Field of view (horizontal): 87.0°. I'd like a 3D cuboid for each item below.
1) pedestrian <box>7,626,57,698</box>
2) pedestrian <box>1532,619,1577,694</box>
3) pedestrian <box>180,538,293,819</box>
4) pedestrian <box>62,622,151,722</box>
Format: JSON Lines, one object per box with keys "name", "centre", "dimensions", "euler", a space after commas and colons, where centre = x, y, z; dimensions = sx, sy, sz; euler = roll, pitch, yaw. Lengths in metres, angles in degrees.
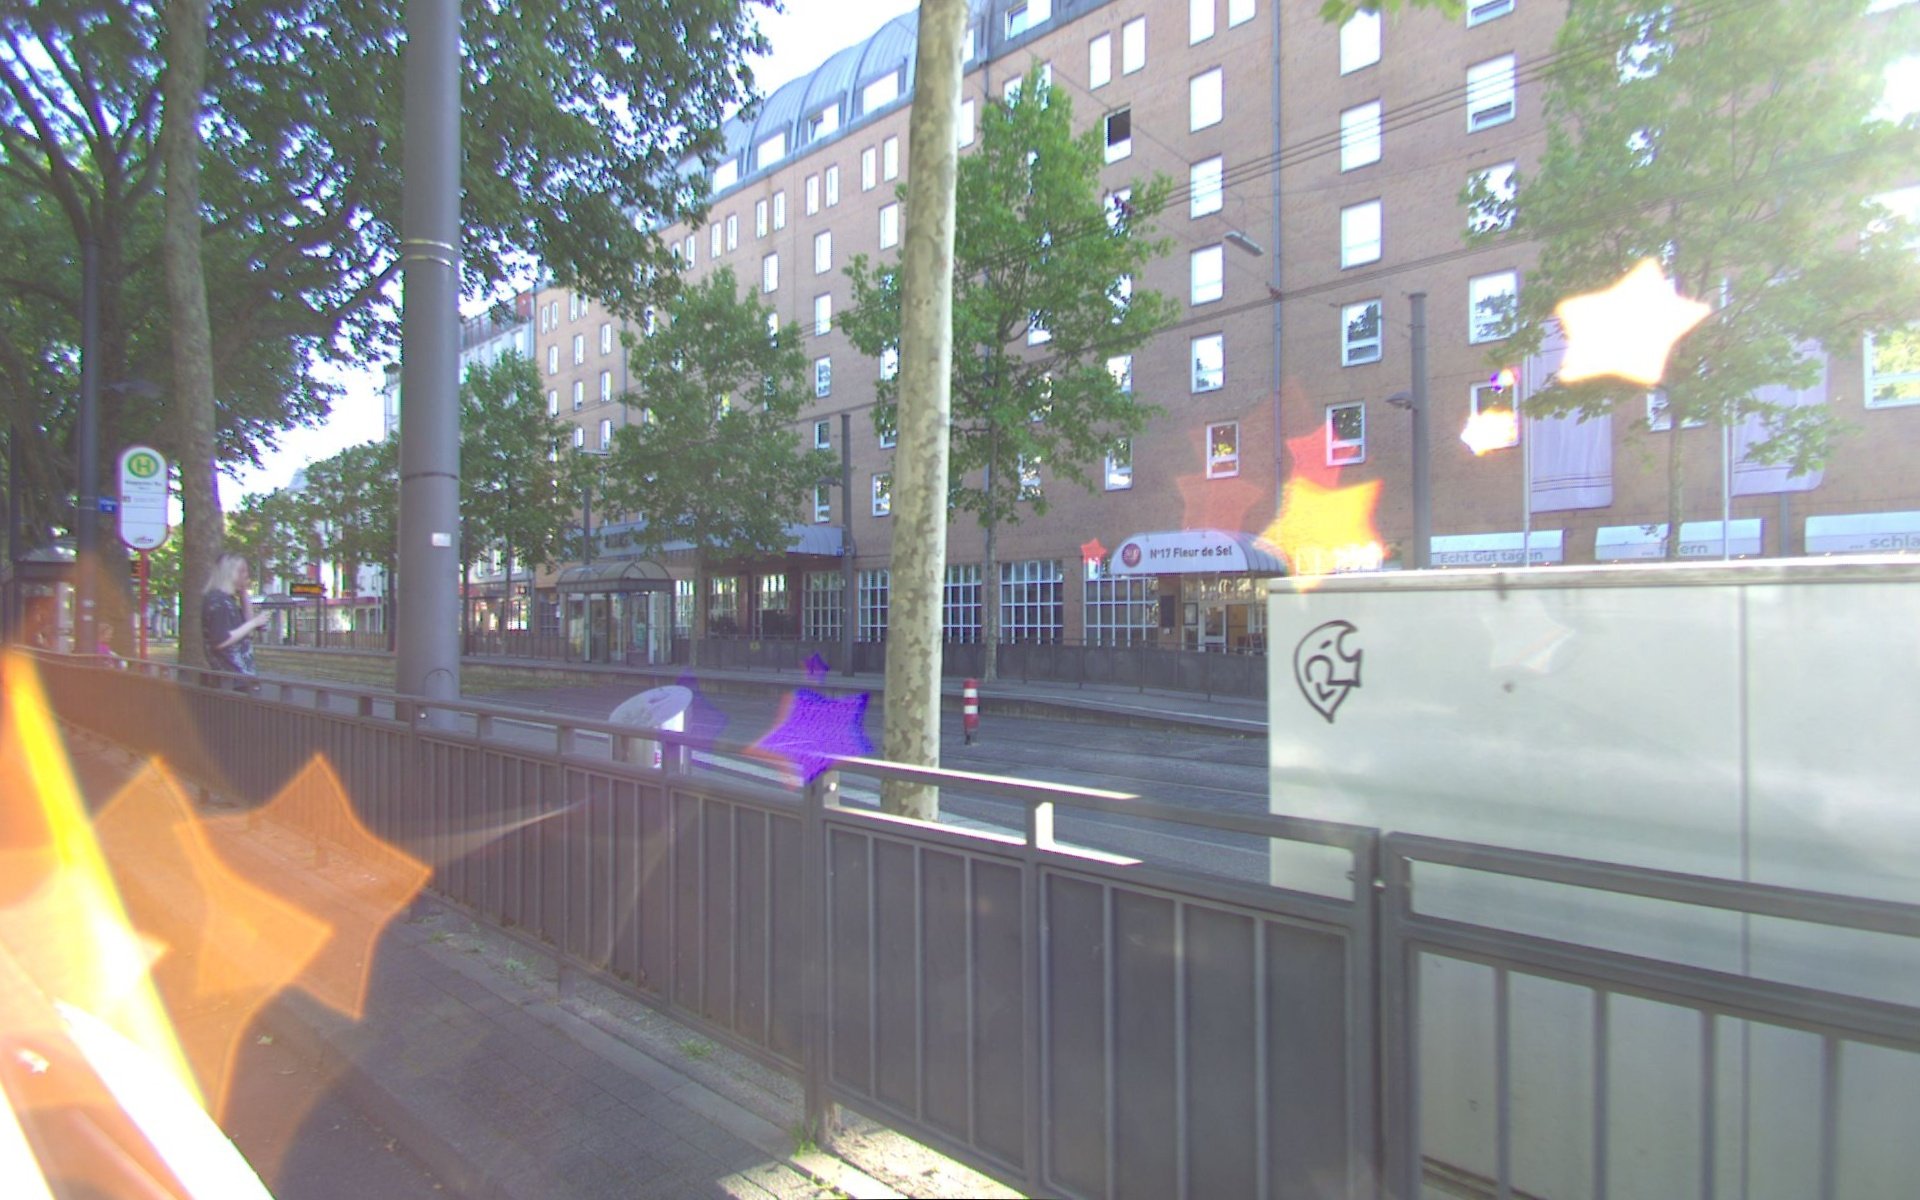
{"name": "pedestrian", "centre": [-18.883, 1.250, 20.602], "dimensions": [0.725, 1.398, 0.641], "euler": [-1, 0, -44]}
{"name": "pedestrian", "centre": [13.103, 1.234, 22.301], "dimensions": [0.725, 1.596, 0.583], "euler": [-2, 0, 40]}
{"name": "pedestrian", "centre": [-5.259, 0.536, 7.349], "dimensions": [0.759, 1.914, 0.504], "euler": [-1, 0, 42]}
{"name": "pedestrian", "centre": [-12.763, 1.053, 15.142], "dimensions": [0.965, 1.410, 0.665], "euler": [-1, 0, -44]}
